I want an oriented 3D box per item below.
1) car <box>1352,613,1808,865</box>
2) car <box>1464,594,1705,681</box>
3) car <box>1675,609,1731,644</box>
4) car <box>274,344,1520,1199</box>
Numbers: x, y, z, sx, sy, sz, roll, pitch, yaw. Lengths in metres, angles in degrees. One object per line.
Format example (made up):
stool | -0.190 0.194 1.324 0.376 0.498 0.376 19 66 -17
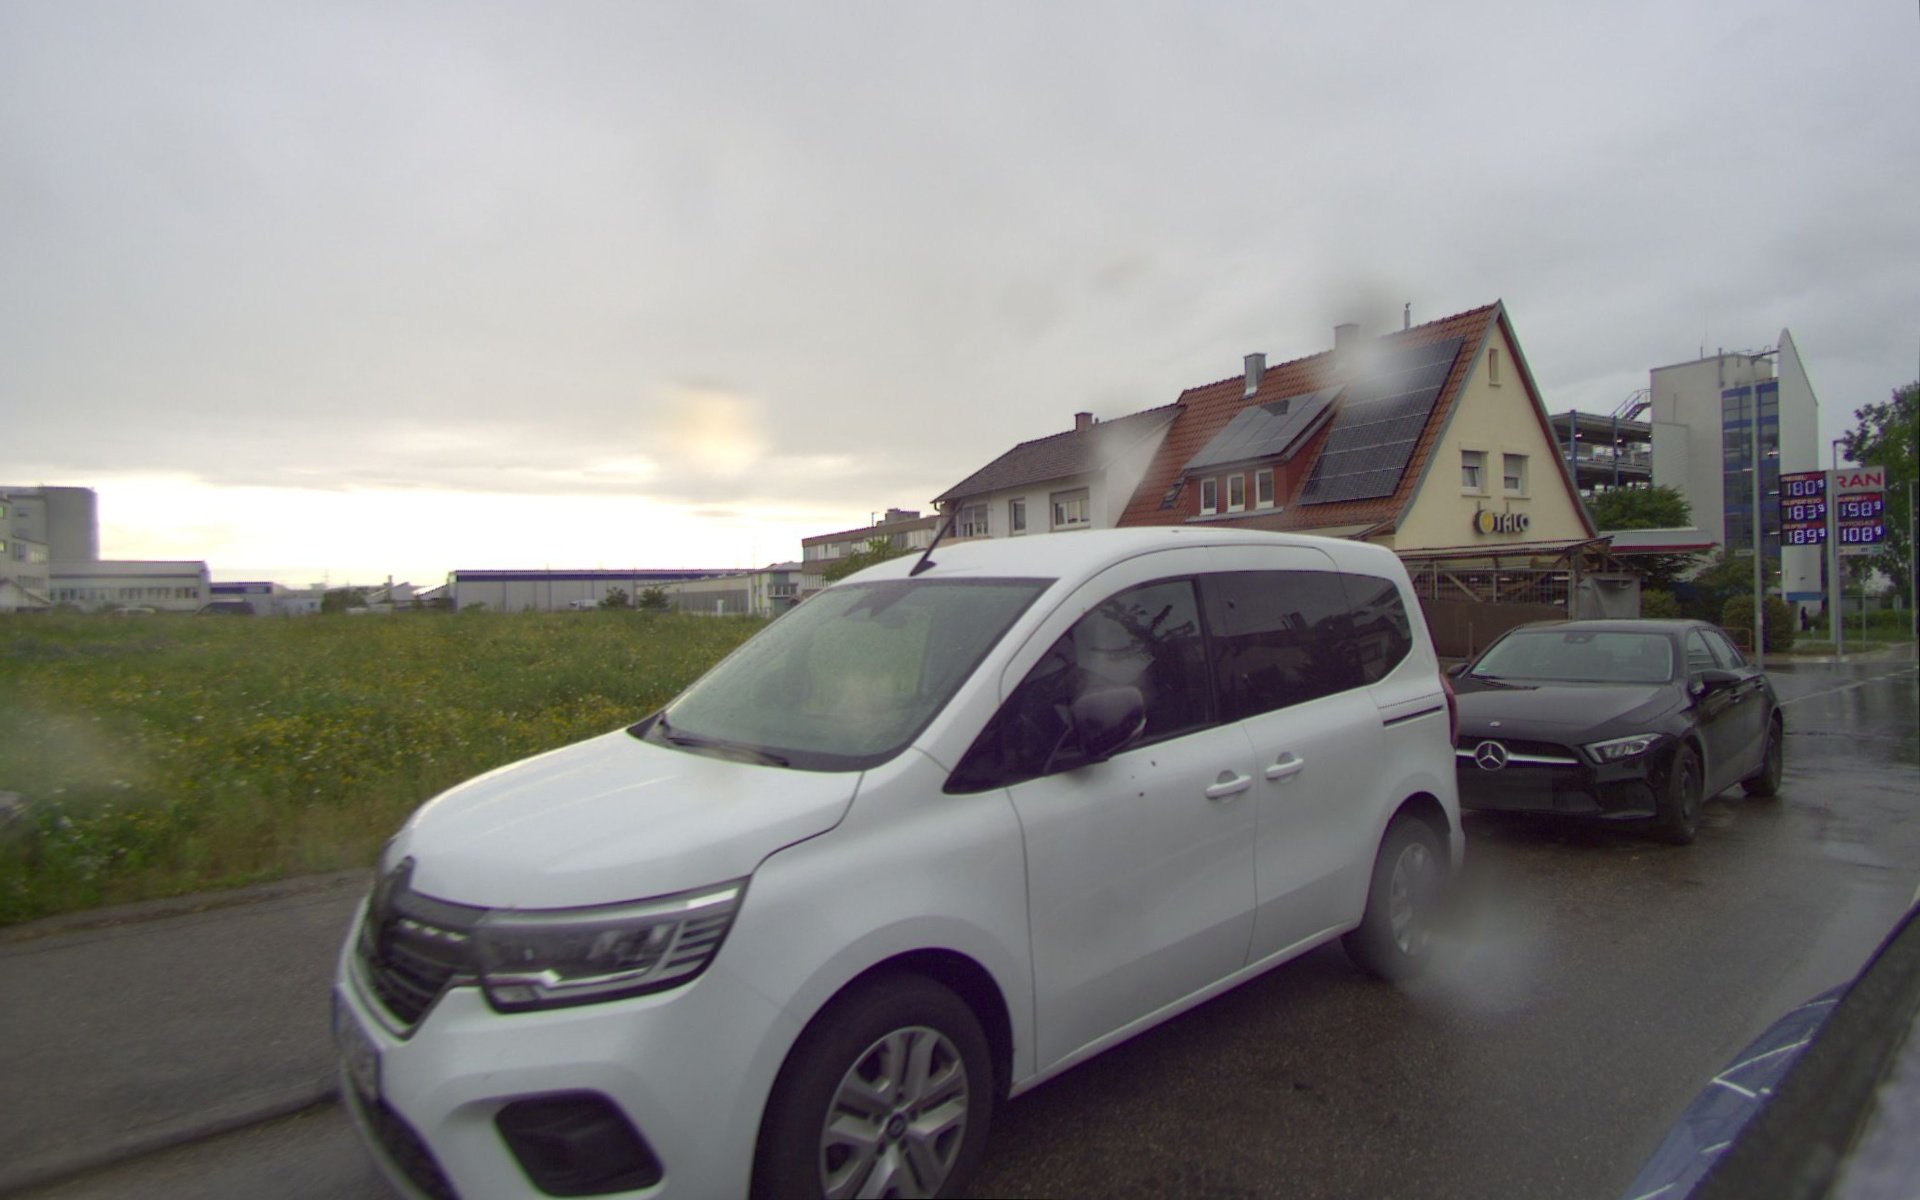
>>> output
car | 4.904 0.816 7.741 4.245 1.353 1.771 0 -2 -41
car | 13.760 0.740 22.481 1.829 1.630 4.223 -1 2 -42
car | 31.926 1.113 43.455 1.686 1.357 4.277 -1 -1 40
car | 0.249 0.520 3.781 4.495 1.849 1.771 0 -2 -41
